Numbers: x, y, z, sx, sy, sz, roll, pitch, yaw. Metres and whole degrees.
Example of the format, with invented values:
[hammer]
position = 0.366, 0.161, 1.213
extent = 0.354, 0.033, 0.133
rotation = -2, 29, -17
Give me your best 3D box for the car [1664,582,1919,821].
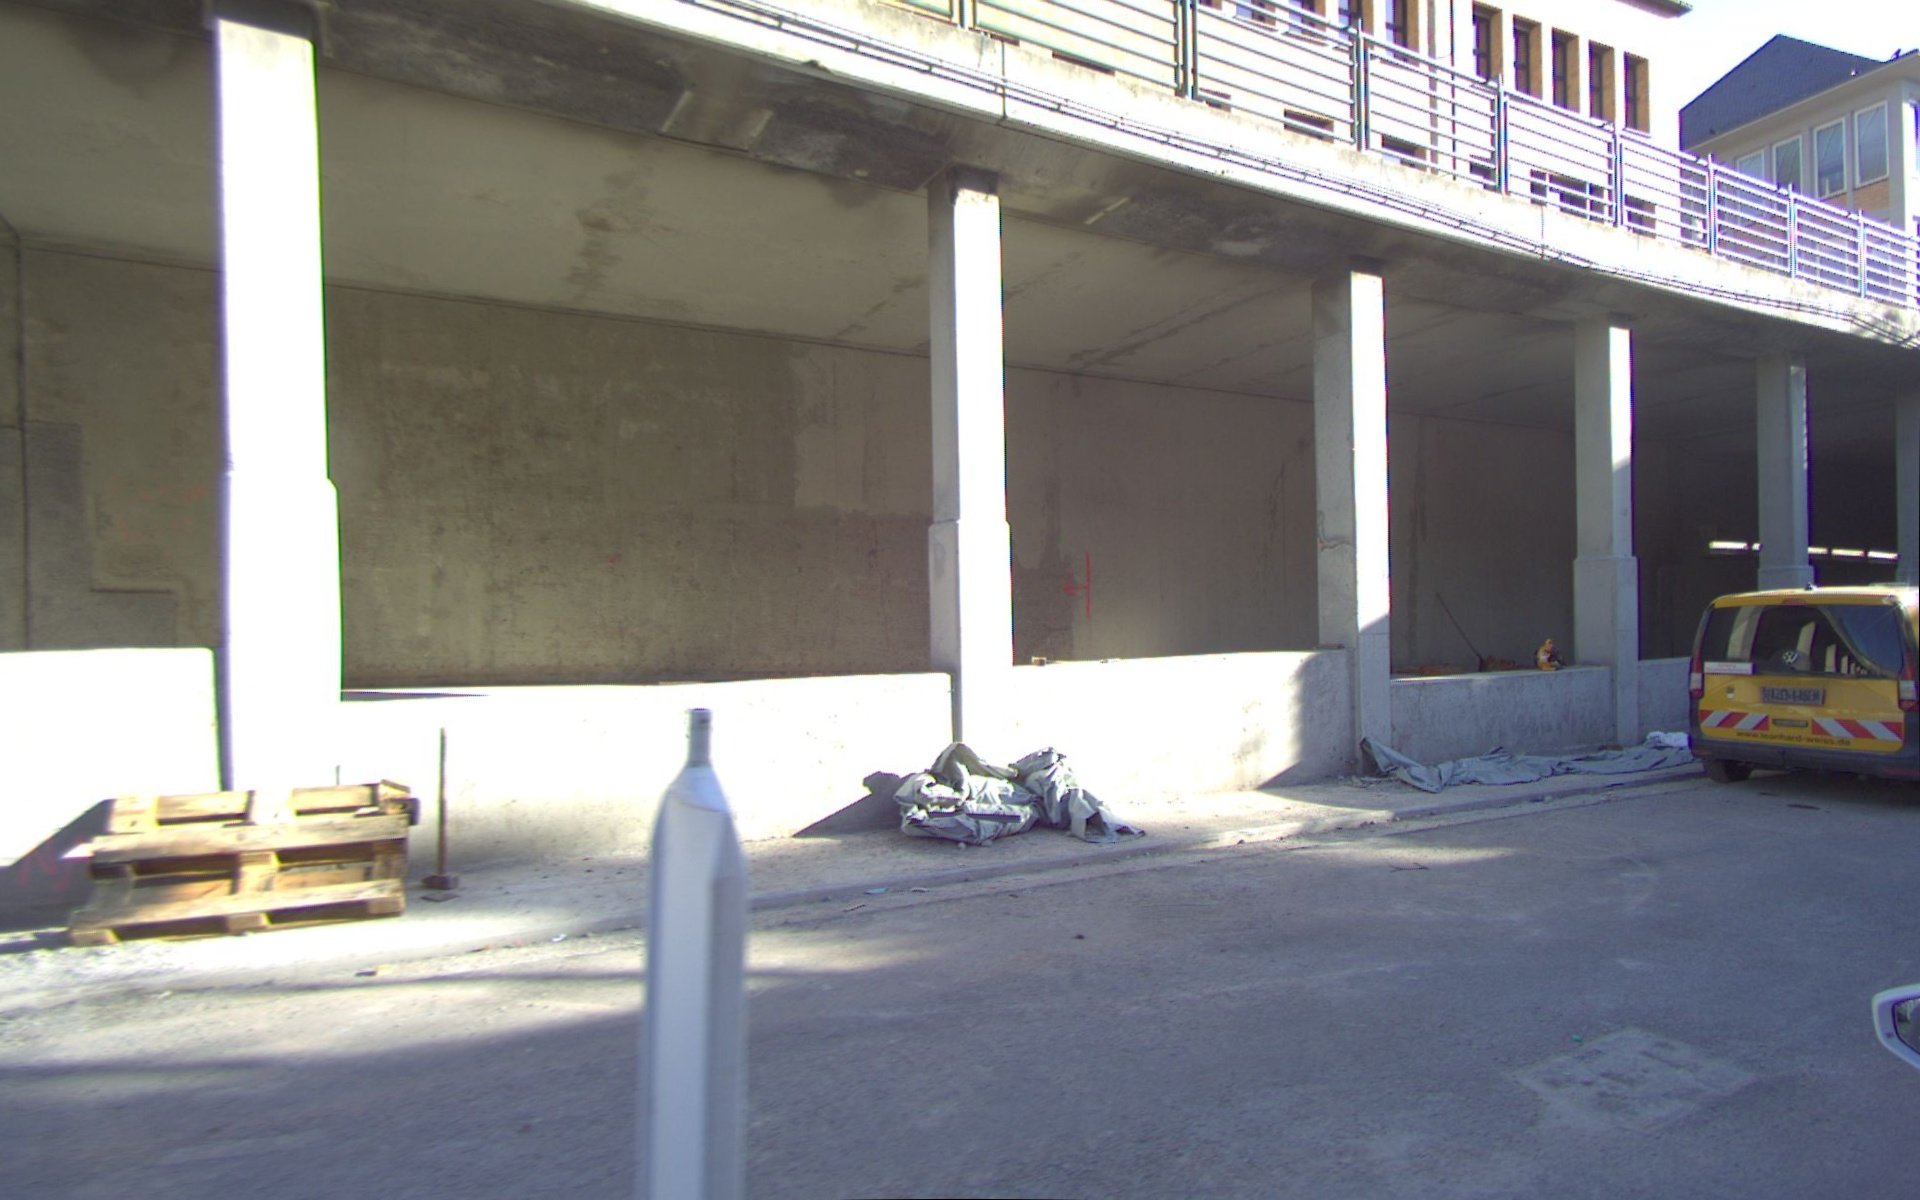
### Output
[car]
position = 8.738, 0.768, 9.350
extent = 4.379, 1.799, 1.840
rotation = 0, 0, -29
